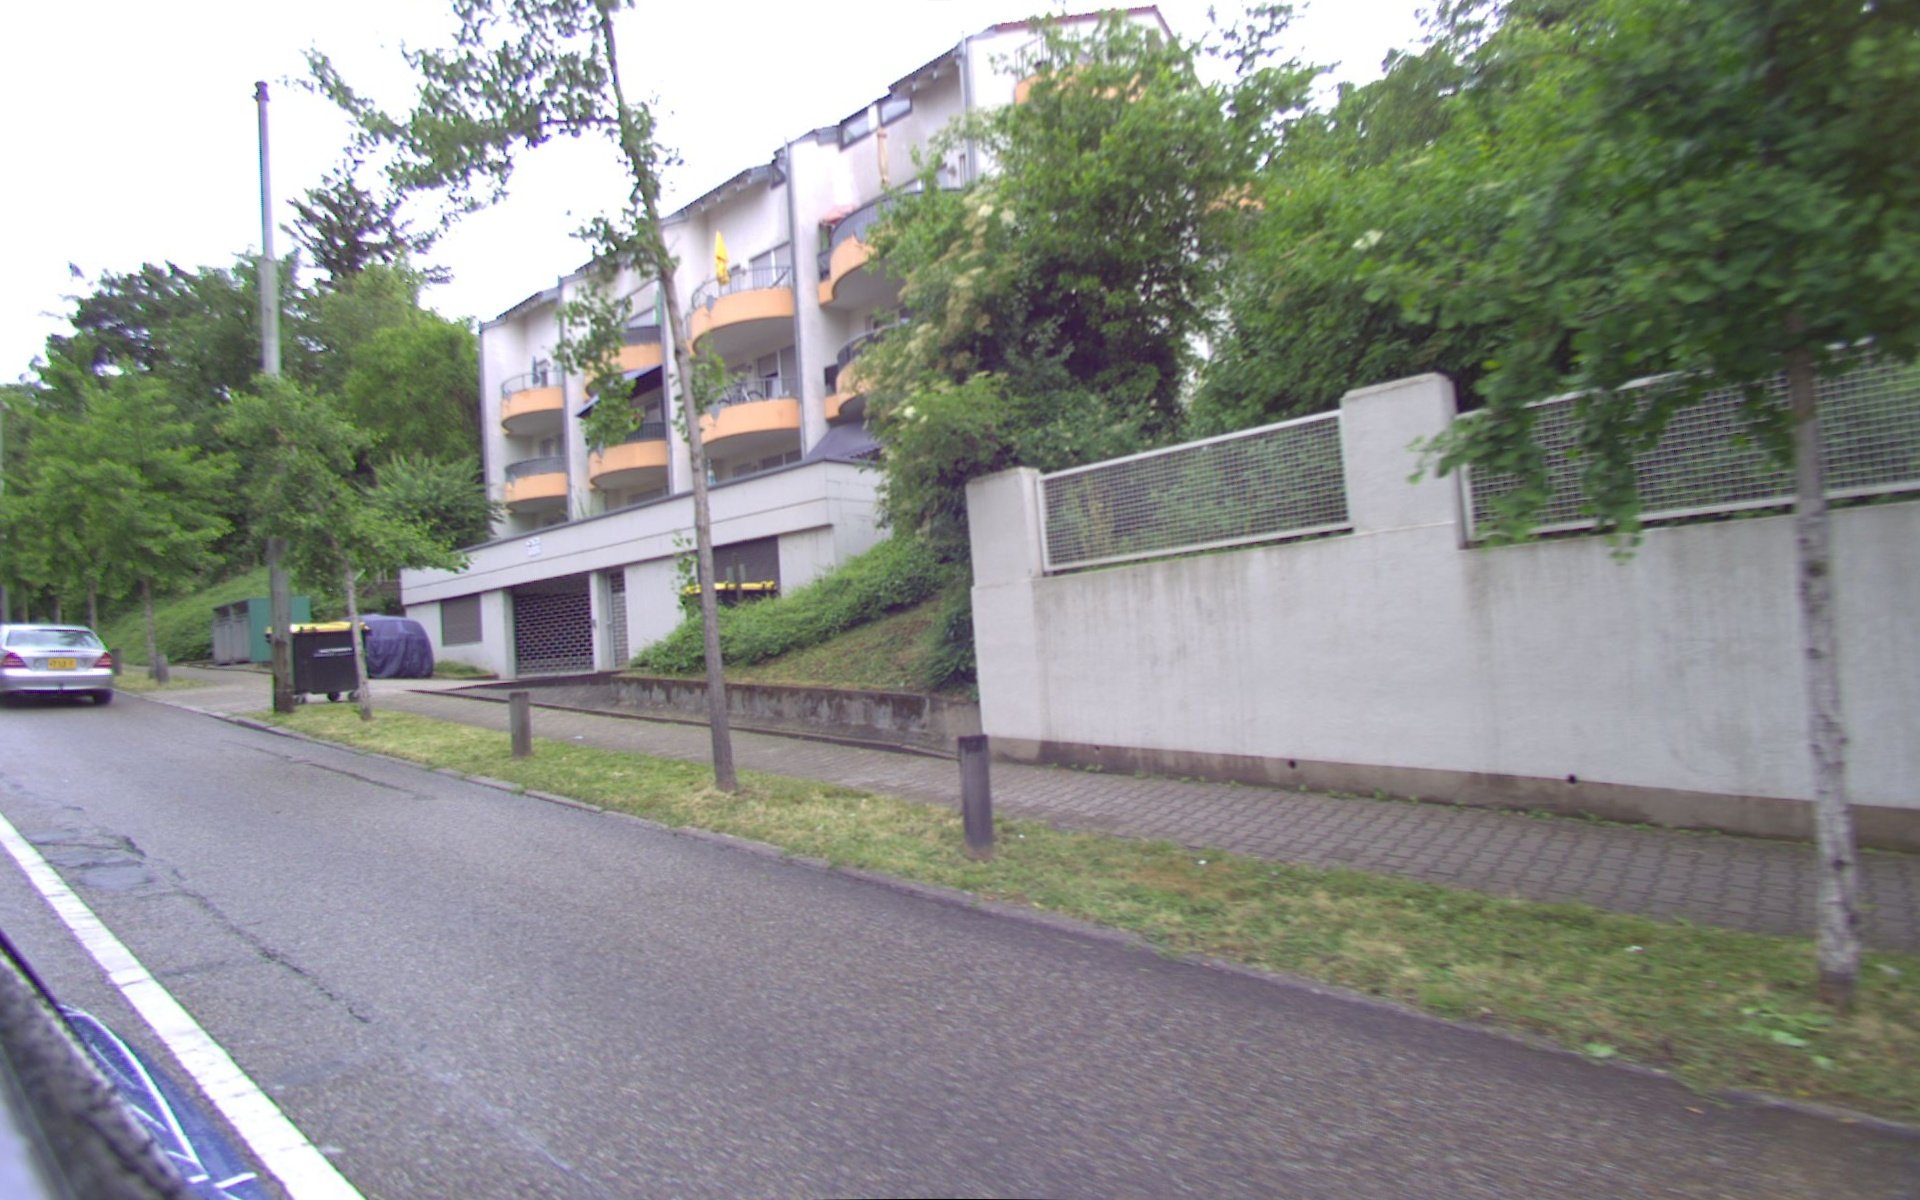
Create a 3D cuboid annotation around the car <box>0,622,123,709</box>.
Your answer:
[{"bbox_3d":[-16.590,1.130,18.200,4.283,1.395,1.701,-2,-3,41],"label":"car"}]

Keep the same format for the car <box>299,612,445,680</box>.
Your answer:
[{"bbox_3d":[-14.478,1.129,24.867,3.862,1.503,1.832,-1,-5,40],"label":"car"}]

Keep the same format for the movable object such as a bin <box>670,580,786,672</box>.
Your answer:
[{"bbox_3d":[-3.620,0.400,15.848,1.159,1.325,1.252,-5,-2,33],"label":"movable object such as a bin"}]

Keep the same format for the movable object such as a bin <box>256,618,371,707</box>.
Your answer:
[{"bbox_3d":[-10.551,0.990,16.536,1.120,1.360,1.213,-1,0,33],"label":"movable object such as a bin"}]
